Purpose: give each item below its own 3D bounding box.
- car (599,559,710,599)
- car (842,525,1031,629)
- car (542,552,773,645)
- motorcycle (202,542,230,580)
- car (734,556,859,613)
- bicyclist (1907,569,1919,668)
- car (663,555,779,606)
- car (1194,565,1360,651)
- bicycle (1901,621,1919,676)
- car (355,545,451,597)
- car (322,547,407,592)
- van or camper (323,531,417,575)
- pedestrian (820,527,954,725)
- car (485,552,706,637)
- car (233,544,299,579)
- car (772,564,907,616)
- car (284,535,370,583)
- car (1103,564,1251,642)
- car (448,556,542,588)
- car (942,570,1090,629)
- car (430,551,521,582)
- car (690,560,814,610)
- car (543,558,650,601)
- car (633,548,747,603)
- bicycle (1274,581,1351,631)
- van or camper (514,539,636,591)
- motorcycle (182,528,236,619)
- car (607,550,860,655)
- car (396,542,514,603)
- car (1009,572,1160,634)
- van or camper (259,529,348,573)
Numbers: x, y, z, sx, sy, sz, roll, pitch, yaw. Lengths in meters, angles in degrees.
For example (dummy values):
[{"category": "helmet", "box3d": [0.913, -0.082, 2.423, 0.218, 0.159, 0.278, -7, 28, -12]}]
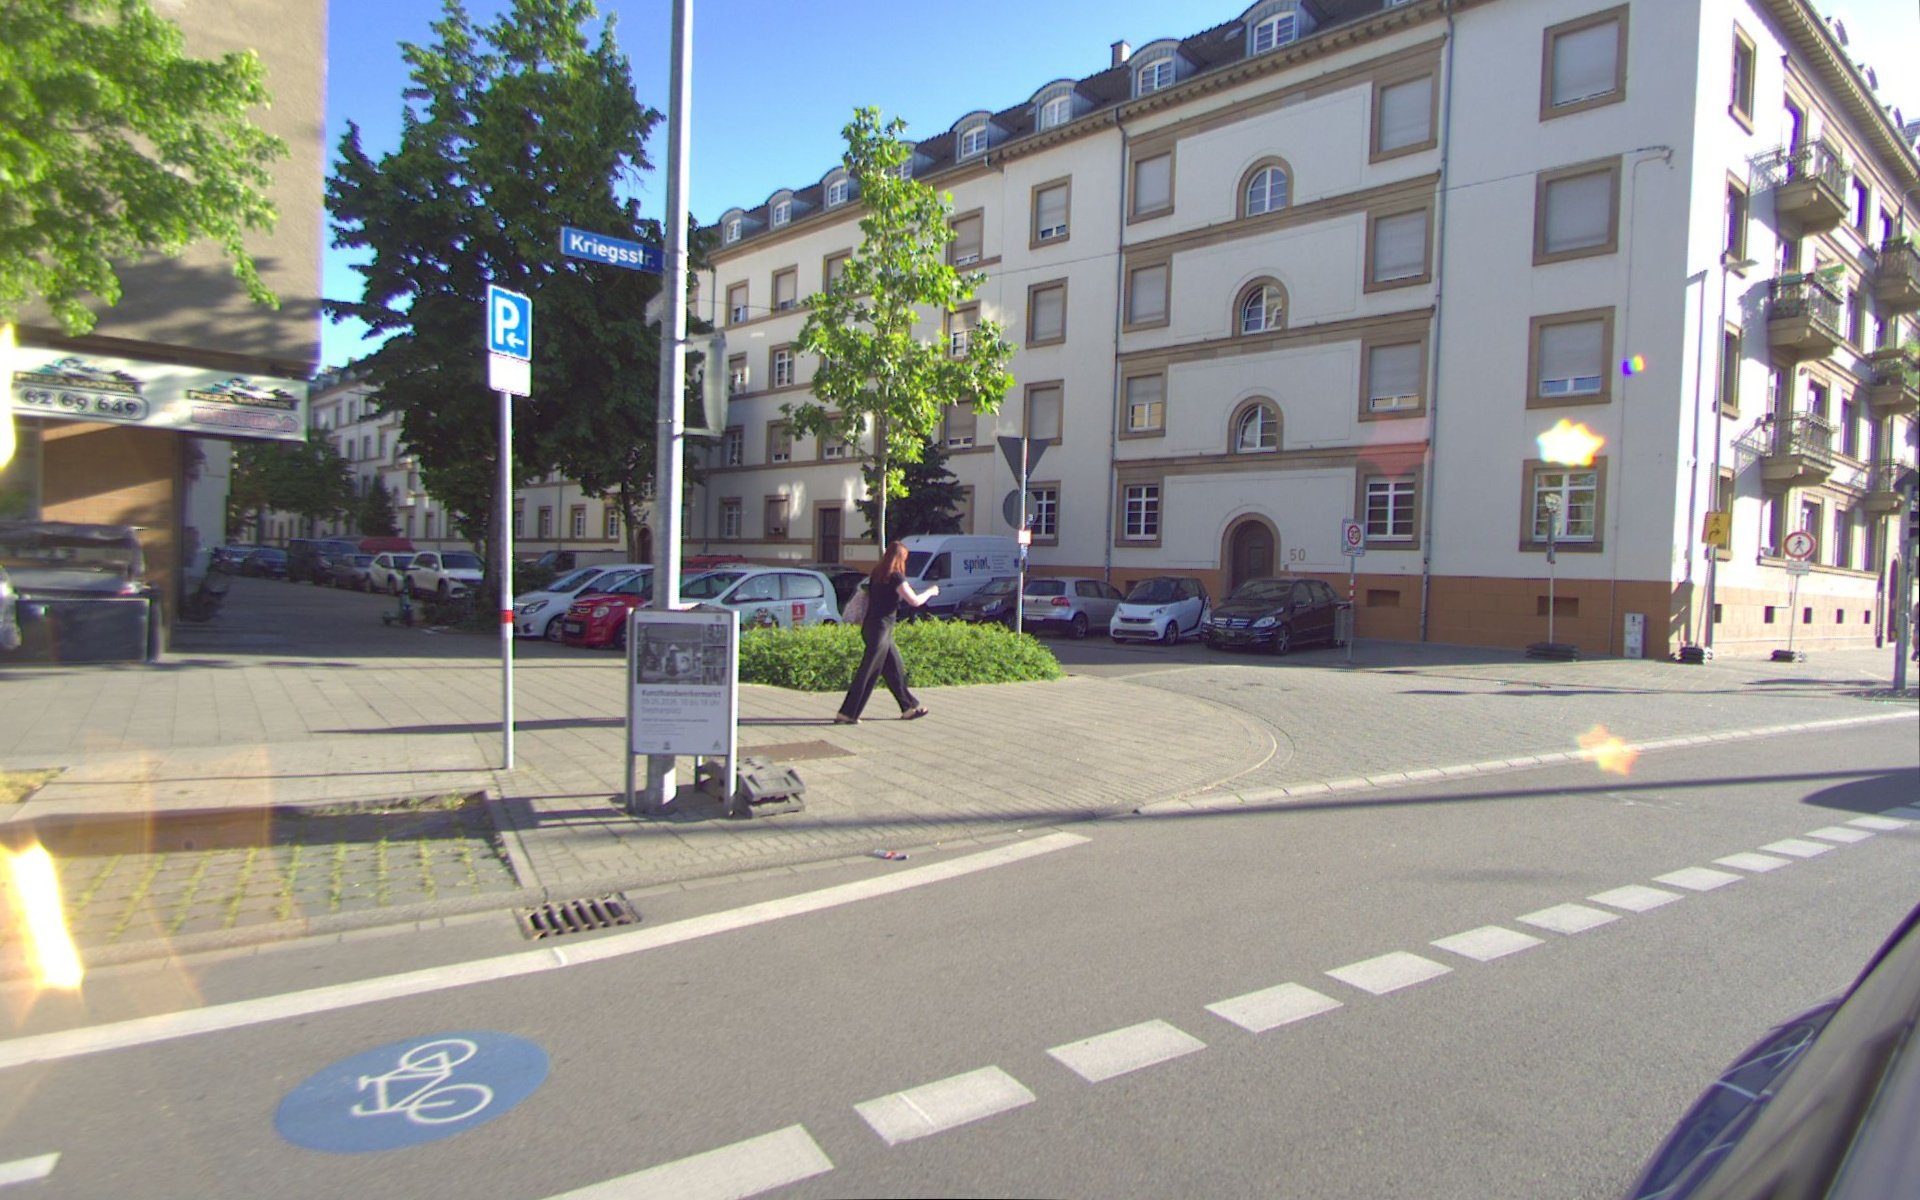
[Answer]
[{"category": "car", "box3d": [-12.243, -0.815, 40.669, 1.691, 1.454, 3.935, 0, -1, 45]}, {"category": "car", "box3d": [-0.514, -0.732, 28.646, 1.921, 2.640, 5.876, 3, 4, 41]}, {"category": "car", "box3d": [-5.252, 0.000, 17.877, 1.631, 1.471, 3.599, 0, -1, 42]}, {"category": "motorcycle", "box3d": [-27.198, -1.415, 36.968, 0.641, 1.338, 2.263, 1, 1, -40]}, {"category": "car", "box3d": [-5.339, -0.470, 33.403, 1.539, 1.761, 3.935, 0, -1, 45]}, {"category": "bicyclist", "box3d": [17.928, 0.354, 18.497, 0.920, 1.785, 0.735, 1, 1, -39]}, {"category": "car", "box3d": [-8.736, -0.661, 37.255, 1.688, 1.749, 3.942, 0, -1, 40]}, {"category": "car", "box3d": [7.043, 0.103, 22.209, 1.693, 1.707, 4.370, 0, 1, 44]}, {"category": "bicycle", "box3d": [18.041, 0.884, 18.603, 2.158, 0.965, 0.769, 1, 2, -39]}, {"category": "car", "box3d": [-19.538, -0.971, 35.415, 3.986, 1.661, 1.797, 0, -1, 43]}, {"category": "car", "box3d": [-22.873, -1.138, 38.811, 3.986, 1.609, 1.765, 0, -1, 43]}, {"category": "van or camper", "box3d": [-37.351, -2.923, 64.206, 1.811, 2.560, 4.817, 0, -1, 39]}, {"category": "pedestrian", "box3d": [-0.716, 0.217, 9.682, 1.082, 1.785, 0.889, 1, 3, -15]}, {"category": "car", "box3d": [-6.966, -0.076, 19.563, 3.673, 1.473, 1.633, 1, -1, -45]}, {"category": "car", "box3d": [-33.614, -1.832, 48.990, 3.984, 1.527, 1.757, 0, -1, 42]}, {"category": "car", "box3d": [-3.707, -0.283, 31.549, 3.930, 1.509, 1.693, 1, -1, -41]}, {"category": "car", "box3d": [-26.151, -1.637, 41.767, 4.163, 1.822, 1.903, 0, -1, 42]}, {"category": "car", "box3d": [5.281, 0.000, 24.247, 1.621, 1.707, 4.376, 2, 2, 40]}, {"category": "car", "box3d": [-23.176, -1.360, 50.502, 1.690, 1.454, 3.936, 0, -1, 44]}, {"category": "car", "box3d": [1.619, -0.042, 27.677, 1.691, 1.497, 4.372, 0, 1, 42]}, {"category": "car", "box3d": [-25.130, -1.695, 52.611, 1.690, 1.454, 3.936, 0, -1, 44]}, {"category": "car", "box3d": [-7.144, -0.509, 35.031, 3.934, 1.636, 1.691, -1, 0, -44]}, {"category": "car", "box3d": [-15.490, -0.850, 43.277, 1.736, 1.701, 3.938, 0, -1, 43]}, {"category": "car", "box3d": [-10.308, -0.901, 38.869, 1.690, 1.961, 3.938, 0, -1, 43]}, {"category": "bicycle", "box3d": [8.921, 0.140, 25.666, 1.802, 1.179, 0.401, 3, 3, 39]}, {"category": "van or camper", "box3d": [-17.280, -1.500, 45.537, 1.815, 2.124, 4.808, 0, -1, 44]}, {"category": "motorcycle", "box3d": [-14.205, -0.509, 19.122, 0.641, 1.627, 2.263, 1, 1, -40]}, {"category": "car", "box3d": [-3.550, 0.054, 16.373, 1.660, 1.493, 3.780, 0, -1, 40]}, {"category": "car", "box3d": [-16.099, -0.890, 32.183, 4.385, 1.719, 1.968, 4, 2, 44]}, {"category": "car", "box3d": [3.260, 0.031, 25.809, 1.691, 1.447, 4.374, 0, 1, 41]}, {"category": "van or camper", "box3d": [-44.852, -3.311, 69.226, 1.811, 2.754, 4.817, 0, -1, 39]}]
